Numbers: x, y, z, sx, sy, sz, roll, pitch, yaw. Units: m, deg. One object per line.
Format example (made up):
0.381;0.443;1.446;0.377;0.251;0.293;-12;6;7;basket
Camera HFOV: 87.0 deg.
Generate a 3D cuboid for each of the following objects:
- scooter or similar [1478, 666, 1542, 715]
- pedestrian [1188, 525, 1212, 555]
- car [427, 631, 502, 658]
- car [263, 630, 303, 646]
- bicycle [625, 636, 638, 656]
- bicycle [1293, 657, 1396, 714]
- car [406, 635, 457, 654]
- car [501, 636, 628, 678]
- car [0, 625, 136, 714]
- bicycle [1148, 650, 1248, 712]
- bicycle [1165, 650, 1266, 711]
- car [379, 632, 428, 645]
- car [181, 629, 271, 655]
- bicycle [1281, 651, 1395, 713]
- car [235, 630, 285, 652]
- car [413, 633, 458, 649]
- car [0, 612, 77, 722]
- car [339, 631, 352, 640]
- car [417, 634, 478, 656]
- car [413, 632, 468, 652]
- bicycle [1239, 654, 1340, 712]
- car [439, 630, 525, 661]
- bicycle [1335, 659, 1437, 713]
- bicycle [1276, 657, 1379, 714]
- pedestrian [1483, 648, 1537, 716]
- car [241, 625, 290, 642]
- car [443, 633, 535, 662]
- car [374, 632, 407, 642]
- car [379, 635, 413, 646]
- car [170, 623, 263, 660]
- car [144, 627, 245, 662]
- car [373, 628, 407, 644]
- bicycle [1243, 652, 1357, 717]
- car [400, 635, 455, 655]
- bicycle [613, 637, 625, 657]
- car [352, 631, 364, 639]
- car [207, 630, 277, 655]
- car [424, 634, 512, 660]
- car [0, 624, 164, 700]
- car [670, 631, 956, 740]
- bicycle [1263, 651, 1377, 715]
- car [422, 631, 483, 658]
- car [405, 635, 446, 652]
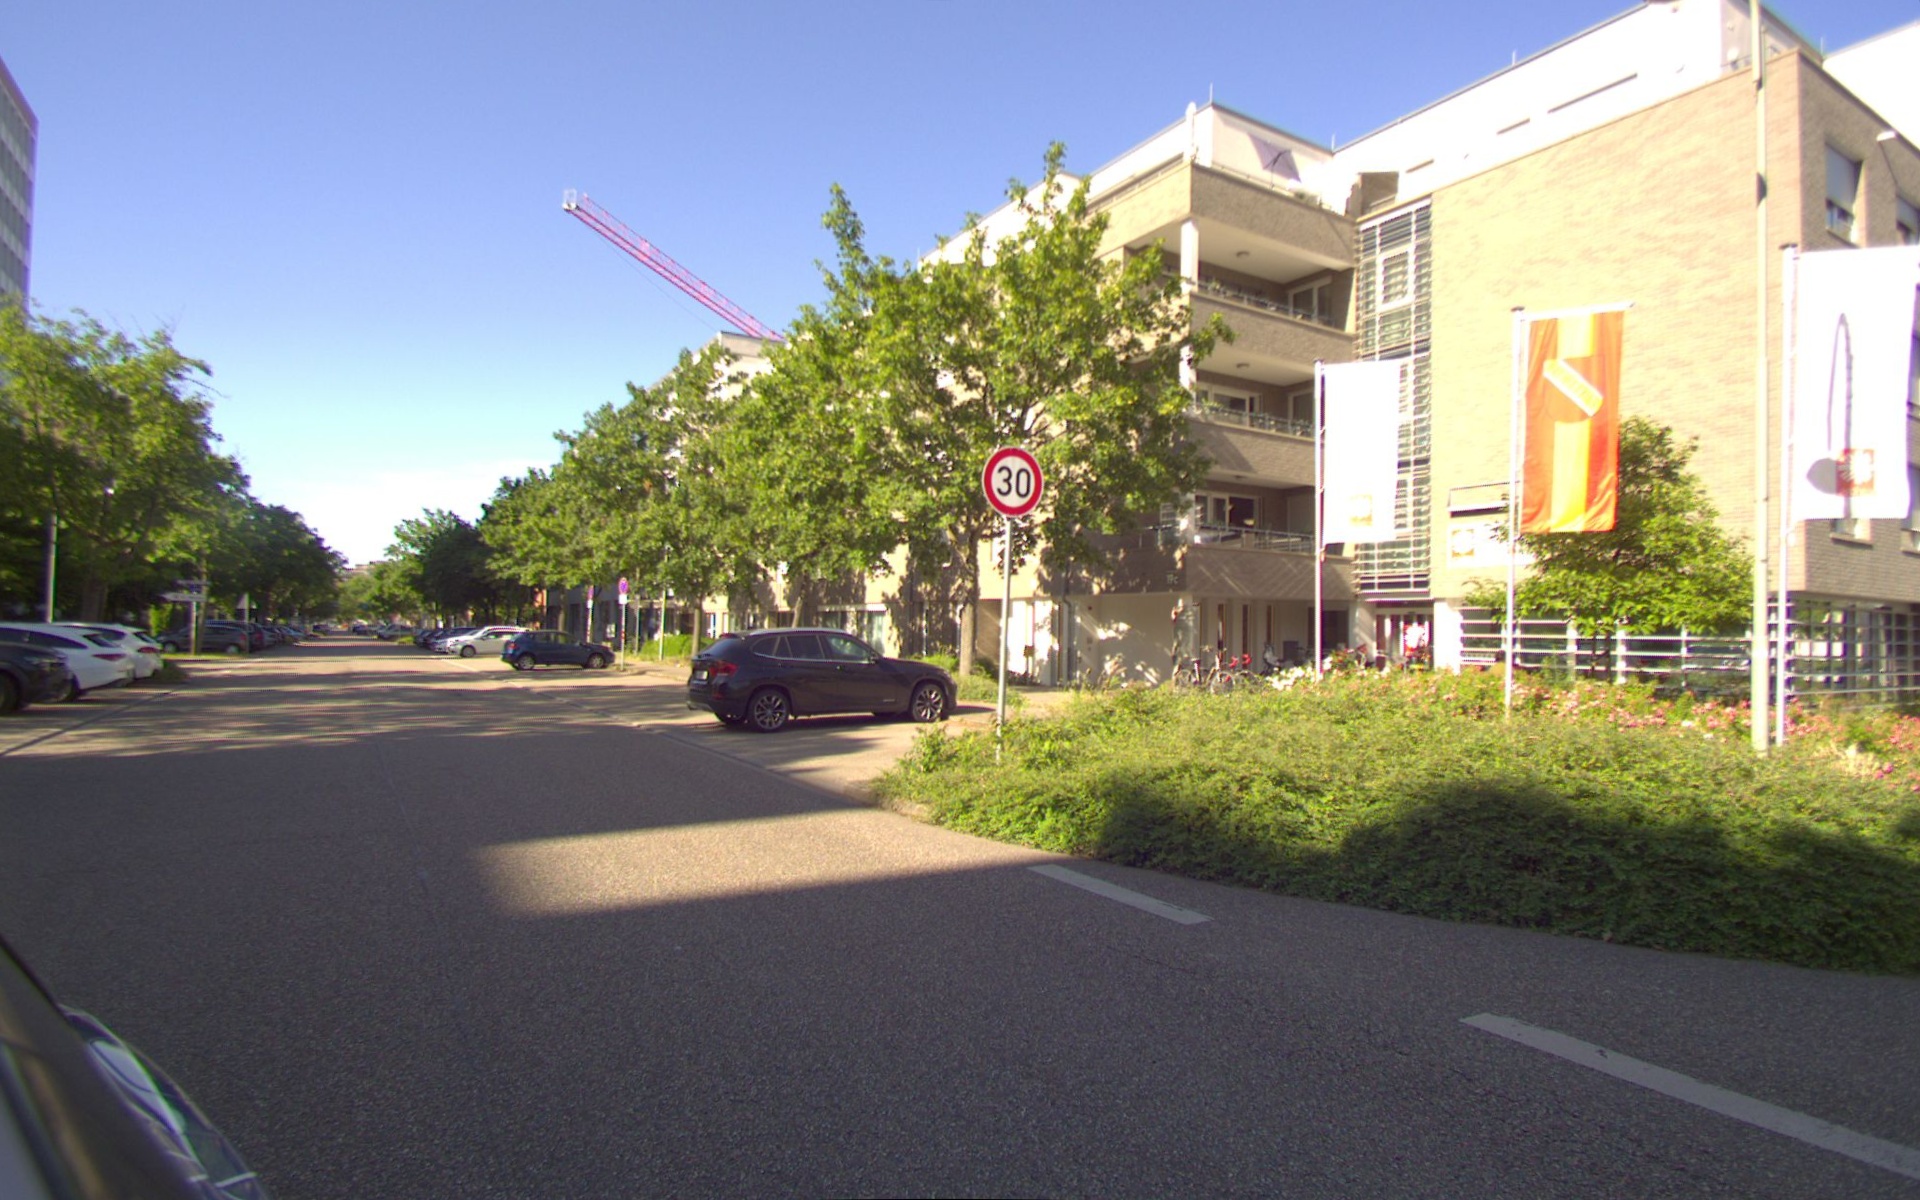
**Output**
11.460;1.871;21.105;0.792;0.961;0.871;1;-2;-29;scooter or similar
6.053;-1.512;25.568;0.410;0.691;0.428;2;-2;-40;pedestrian
-30.795;2.754;62.967;4.055;1.633;1.808;1;-2;-30;car
-81.085;4.550;121.244;3.934;1.797;1.958;2;-2;-36;car
-20.055;2.825;61.794;0.333;1.184;1.632;1;-2;-31;bicycle
7.939;1.746;21.008;0.431;1.055;2.199;1;-2;-31;bicycle
-42.594;3.564;81.549;3.481;1.518;1.651;1;-2;-33;car
-14.148;1.999;36.284;3.933;1.422;1.822;1;-2;-35;car
-17.693;1.217;18.103;4.382;1.557;1.822;1;-2;-34;car
4.453;1.502;19.130;0.431;1.055;2.199;1;-2;-31;bicycle
4.855;1.513;19.385;0.431;1.055;2.199;1;-2;-31;bicycle
-67.927;4.702;123.481;5.167;1.637;1.959;1;-2;-30;car
-45.366;2.619;62.708;4.359;1.565;1.865;2;-3;-33;car
7.003;1.497;18.884;0.431;1.055;2.199;1;-2;-31;bicycle
-55.359;3.254;80.068;3.003;1.617;1.609;4;-3;-29;car
-49.064;3.816;94.761;3.571;1.519;1.622;1;-2;-33;car
-16.233;0.944;15.288;4.062;1.630;1.738;4;-3;-33;car
-114.969;6.576;189.314;1.919;1.639;4.012;2;-2;-29;car
-37.013;3.250;73.110;3.770;1.425;1.692;0;-3;-33;car
-38.775;3.149;75.578;3.481;1.447;1.662;1;-2;-33;car
6.655;1.653;20.547;0.431;1.055;2.199;1;-2;-31;bicycle
-26.549;2.500;56.227;4.167;1.614;1.959;0;-1;-31;car
9.145;1.830;21.830;0.431;1.055;2.199;1;-2;-31;bicycle
7.488;1.725;20.734;0.431;1.055;2.199;1;-2;-31;bicycle
11.451;1.695;21.079;0.659;1.371;0.747;3;-3;-30;pedestrian
-72.115;3.524;105.179;4.097;1.719;2.005;1;-2;-34;car
-24.926;2.513;53.575;4.200;1.491;1.805;2;-3;-32;car
-81.202;5.294;144.380;3.933;1.425;1.598;2;-3;-33;car
-74.513;5.308;133.665;3.903;1.483;1.959;1;-2;-30;car
-38.662;2.187;52.755;3.621;1.764;1.729;4;-3;-29;car
-37.811;2.215;50.122;3.783;1.458;1.596;6;-7;-34;car
-78.716;4.998;139.669;3.933;2.123;2.005;1;-2;-33;car
6.137;1.498;18.384;0.431;1.055;2.199;1;-2;-31;bicycle
-40.626;3.416;77.244;3.482;1.456;1.662;1;-2;-35;car
-20.608;2.844;61.082;0.333;1.184;1.632;1;-2;-31;bicycle
-111.722;6.572;187.789;1.737;1.383;4.012;3;-3;-29;car
-46.421;2.745;65.497;3.523;1.518;1.729;4;-3;-33;car
-29.347;2.795;60.420;4.448;1.462;1.946;1;-2;-36;car
-21.151;1.395;23.166;4.367;1.605;1.841;5;-4;-34;car
-2.293;1.263;16.091;4.134;1.532;1.777;1;-2;-31;car
6.578;1.497;18.644;0.431;1.055;2.199;1;-2;-31;bicycle
-33.447;2.929;66.741;3.522;1.681;1.659;1;-2;-29;car
-45.229;3.676;85.640;2.885;1.454;1.393;2;-2;-32;car
